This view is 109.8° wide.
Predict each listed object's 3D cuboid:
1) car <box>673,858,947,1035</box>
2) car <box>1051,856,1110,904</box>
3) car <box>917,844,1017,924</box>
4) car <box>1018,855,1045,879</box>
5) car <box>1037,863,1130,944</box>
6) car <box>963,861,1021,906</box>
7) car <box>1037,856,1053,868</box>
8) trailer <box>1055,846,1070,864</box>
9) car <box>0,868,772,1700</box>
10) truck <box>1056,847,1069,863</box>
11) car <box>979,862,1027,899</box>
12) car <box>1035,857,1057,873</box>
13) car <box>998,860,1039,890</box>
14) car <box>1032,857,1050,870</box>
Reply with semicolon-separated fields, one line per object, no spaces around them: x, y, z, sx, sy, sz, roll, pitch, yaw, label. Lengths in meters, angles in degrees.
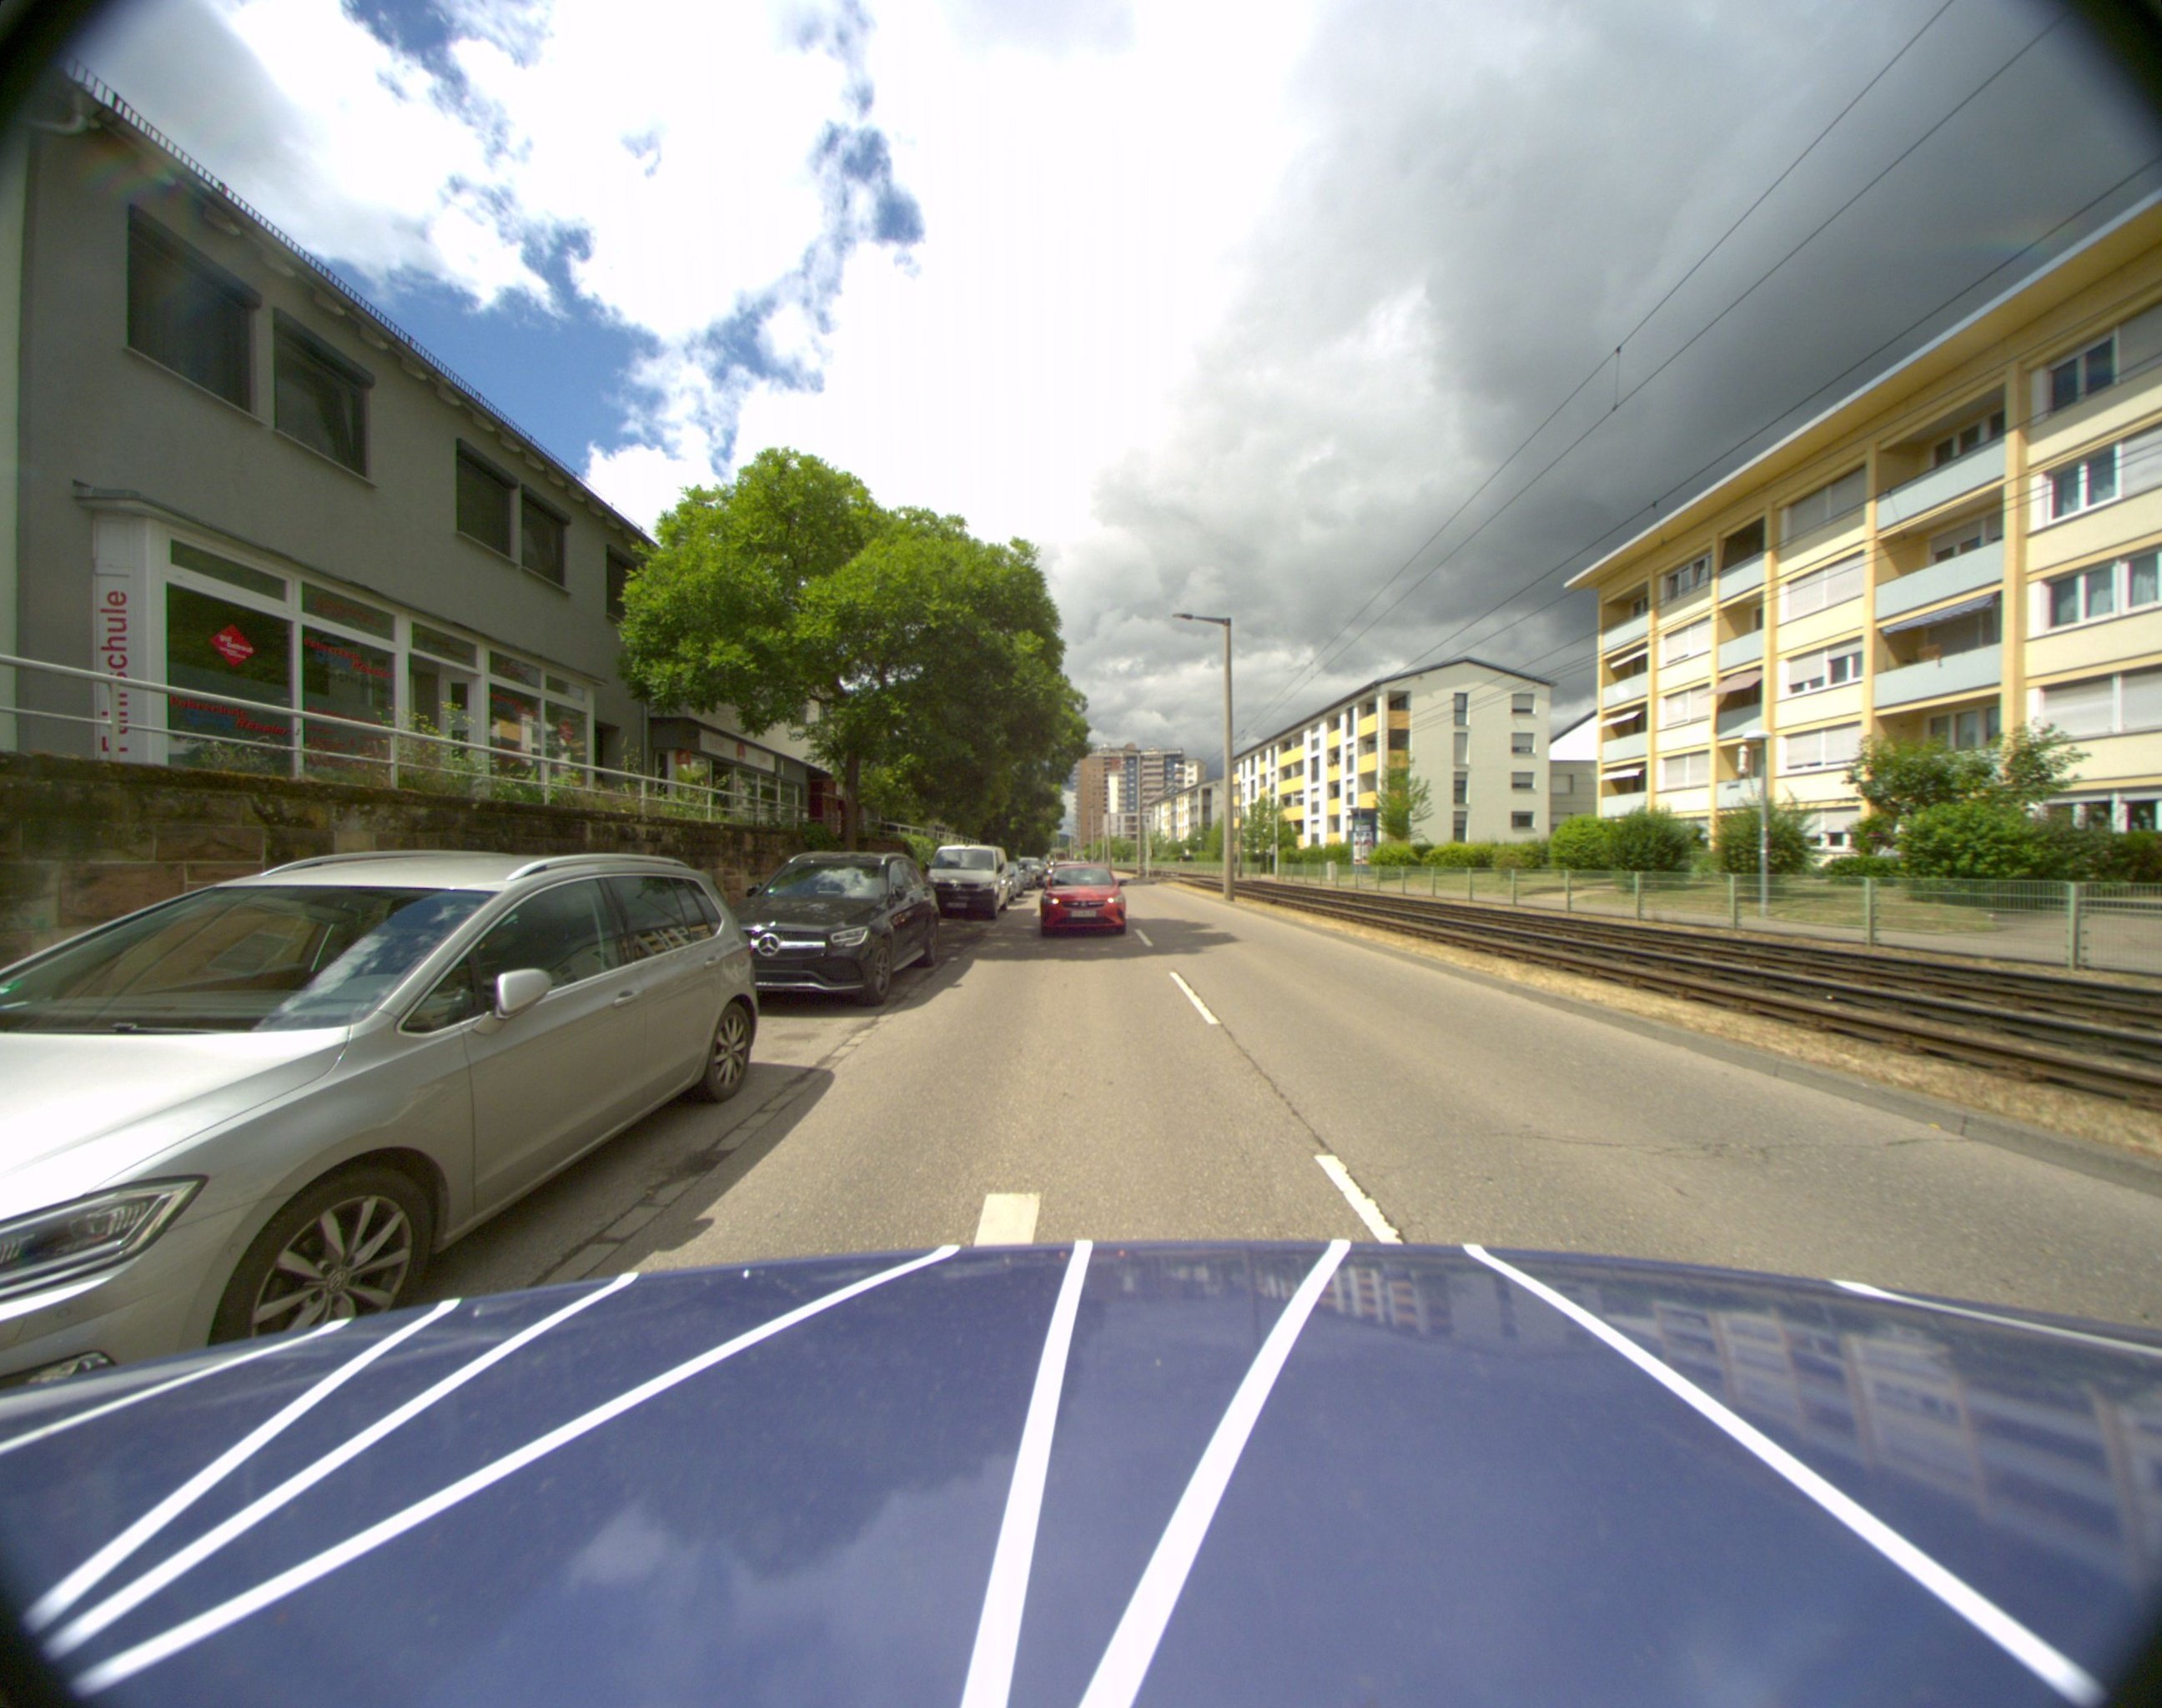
-2.960;0.890;9.417;1.794;1.608;4.447;1;0;0;car
-0.108;0.906;28.107;1.927;1.543;3.999;-3;0;-3;car
-3.034;0.739;21.295;1.978;1.958;5.013;-1;0;0;car
-3.556;0.936;54.706;1.819;1.643;4.146;-1;0;-2;car
0.086;0.963;16.421;1.723;1.434;4.000;-2;0;1;car
-3.104;0.995;27.079;1.578;1.420;3.734;-1;0;0;car
-4.492;0.988;95.574;1.785;1.420;4.147;0;0;0;car
-3.946;0.203;162.468;2.875;3.428;14.612;-3;0;-2;trailer
-3.104;0.913;3.321;1.794;1.608;4.248;0;0;0;car
-4.206;0.217;170.585;2.852;3.428;4.414;-3;0;-2;truck
-3.248;1.066;32.306;1.785;1.420;4.144;0;0;-2;car
-3.275;0.994;71.311;1.785;1.420;4.147;-1;0;0;car
-3.176;1.045;39.285;1.785;1.420;4.147;-1;0;0;car
-4.642;1.118;88.165;1.785;1.420;4.147;-1;0;0;car
